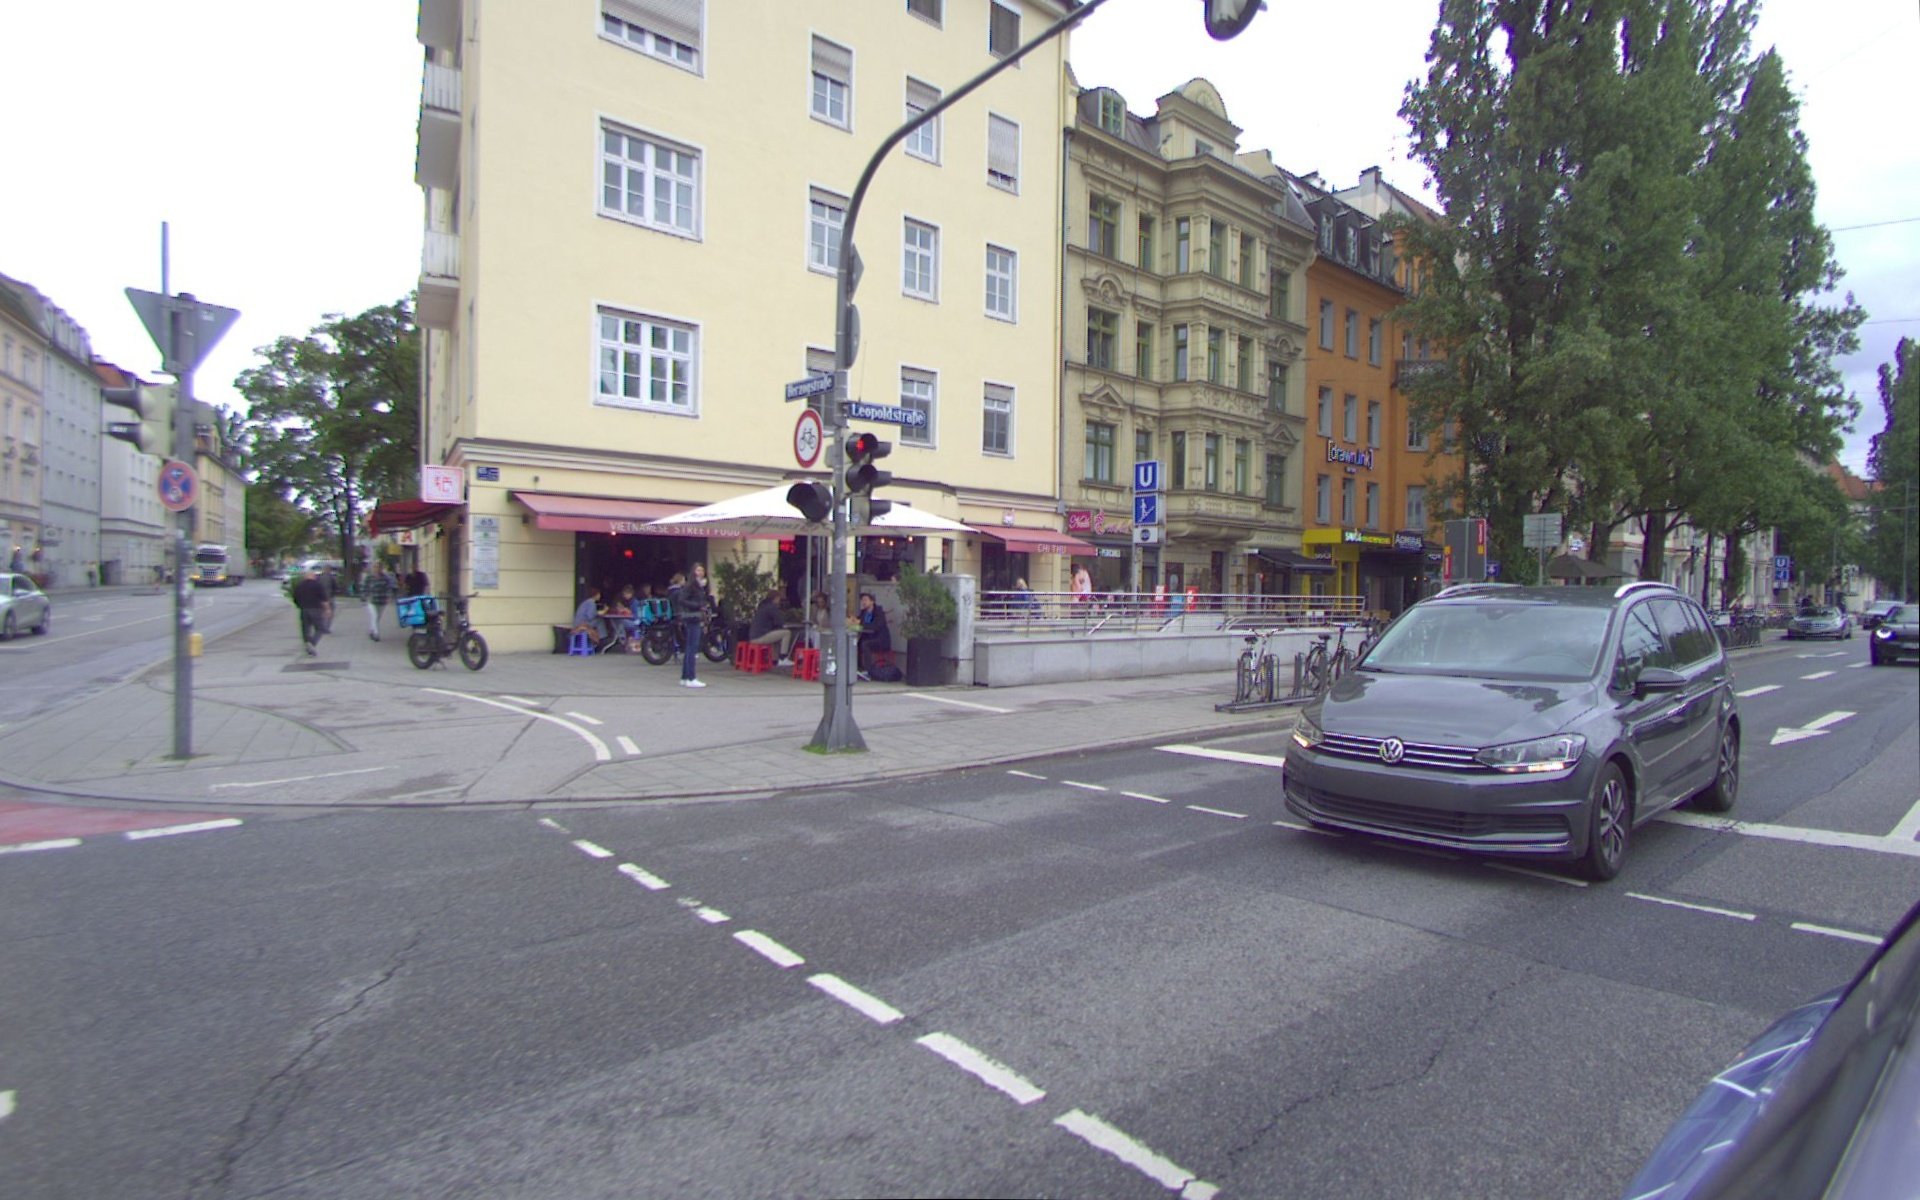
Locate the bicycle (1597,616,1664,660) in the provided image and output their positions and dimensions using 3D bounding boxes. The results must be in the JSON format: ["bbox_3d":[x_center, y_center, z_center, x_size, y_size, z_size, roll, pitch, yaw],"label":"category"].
[{"bbox_3d":[16.477,0.918,24.921,0.319,1.008,1.843,1,-1,-4],"label":"bicycle"}]

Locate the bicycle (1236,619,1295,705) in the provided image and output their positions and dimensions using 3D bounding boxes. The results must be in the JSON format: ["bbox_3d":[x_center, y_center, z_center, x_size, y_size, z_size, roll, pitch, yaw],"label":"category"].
[{"bbox_3d":[4.197,0.821,13.981,0.342,1.008,1.841,1,2,4],"label":"bicycle"}]

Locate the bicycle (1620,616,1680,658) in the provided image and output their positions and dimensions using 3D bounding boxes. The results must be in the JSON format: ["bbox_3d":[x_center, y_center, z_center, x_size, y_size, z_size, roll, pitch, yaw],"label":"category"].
[{"bbox_3d":[17.500,0.919,25.710,0.319,1.008,1.841,1,-1,2],"label":"bicycle"}]

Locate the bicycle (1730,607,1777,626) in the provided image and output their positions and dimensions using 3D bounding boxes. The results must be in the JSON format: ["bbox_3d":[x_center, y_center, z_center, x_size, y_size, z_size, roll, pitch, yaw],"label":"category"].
[{"bbox_3d":[40.021,0.809,51.042,0.385,0.928,1.837,0,0,-39],"label":"bicycle"}]

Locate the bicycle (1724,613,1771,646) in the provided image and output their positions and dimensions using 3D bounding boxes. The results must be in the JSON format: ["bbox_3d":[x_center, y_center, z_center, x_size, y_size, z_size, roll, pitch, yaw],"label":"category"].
[{"bbox_3d":[25.257,0.933,32.477,0.369,1.008,1.836,1,-1,10],"label":"bicycle"}]

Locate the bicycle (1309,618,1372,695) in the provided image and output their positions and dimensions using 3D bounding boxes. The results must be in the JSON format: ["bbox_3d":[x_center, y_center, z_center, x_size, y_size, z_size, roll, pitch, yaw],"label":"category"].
[{"bbox_3d":[5.764,0.824,15.409,0.342,1.008,1.841,1,2,4],"label":"bicycle"}]

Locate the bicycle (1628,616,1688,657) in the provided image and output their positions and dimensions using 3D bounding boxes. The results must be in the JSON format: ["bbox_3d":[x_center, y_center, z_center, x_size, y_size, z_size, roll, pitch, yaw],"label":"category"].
[{"bbox_3d":[17.995,0.919,26.118,0.319,1.008,1.841,1,-1,2],"label":"bicycle"}]

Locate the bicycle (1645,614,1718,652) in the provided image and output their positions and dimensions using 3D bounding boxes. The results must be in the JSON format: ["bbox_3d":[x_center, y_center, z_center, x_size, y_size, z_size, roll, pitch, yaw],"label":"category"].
[{"bbox_3d":[20.415,0.925,28.691,0.367,1.008,1.846,2,-1,-16],"label":"bicycle"}]

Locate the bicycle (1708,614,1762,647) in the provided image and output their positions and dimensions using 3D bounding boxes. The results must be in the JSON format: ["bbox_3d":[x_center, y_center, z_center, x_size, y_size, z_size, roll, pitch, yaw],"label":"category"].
[{"bbox_3d":[24.149,0.932,31.569,0.368,1.008,1.840,1,-1,4],"label":"bicycle"}]

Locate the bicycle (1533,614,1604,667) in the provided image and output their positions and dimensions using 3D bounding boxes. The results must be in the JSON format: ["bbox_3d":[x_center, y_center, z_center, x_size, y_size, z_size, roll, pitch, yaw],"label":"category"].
[{"bbox_3d":[13.021,0.842,21.711,0.341,1.008,1.843,1,2,-1],"label":"bicycle"}]

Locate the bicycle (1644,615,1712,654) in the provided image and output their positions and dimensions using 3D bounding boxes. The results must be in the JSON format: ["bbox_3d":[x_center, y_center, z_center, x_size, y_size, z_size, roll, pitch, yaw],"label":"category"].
[{"bbox_3d":[19.515,0.923,27.545,0.318,1.008,1.844,1,-1,-9],"label":"bicycle"}]

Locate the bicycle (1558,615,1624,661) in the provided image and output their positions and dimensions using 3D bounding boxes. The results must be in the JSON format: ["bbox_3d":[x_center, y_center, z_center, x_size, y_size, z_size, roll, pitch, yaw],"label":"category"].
[{"bbox_3d":[14.521,0.848,23.332,0.319,1.008,1.842,1,-1,-1],"label":"bicycle"}]

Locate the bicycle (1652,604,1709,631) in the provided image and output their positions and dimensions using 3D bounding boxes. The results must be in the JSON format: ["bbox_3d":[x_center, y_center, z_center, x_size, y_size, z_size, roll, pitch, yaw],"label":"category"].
[{"bbox_3d":[29.935,0.718,42.082,0.450,1.067,1.890,0,1,-43],"label":"bicycle"}]

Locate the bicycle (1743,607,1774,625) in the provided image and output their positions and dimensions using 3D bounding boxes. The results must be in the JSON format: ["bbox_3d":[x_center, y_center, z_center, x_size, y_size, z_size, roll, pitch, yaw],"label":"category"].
[{"bbox_3d":[45.939,0.909,58.209,1.801,0.990,0.393,0,0,-14],"label":"bicycle"}]

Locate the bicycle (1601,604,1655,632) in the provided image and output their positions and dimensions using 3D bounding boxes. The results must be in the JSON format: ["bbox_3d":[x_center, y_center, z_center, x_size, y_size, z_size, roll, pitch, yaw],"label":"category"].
[{"bbox_3d":[28.699,0.745,43.489,0.450,1.127,1.890,0,1,-43],"label":"bicycle"}]

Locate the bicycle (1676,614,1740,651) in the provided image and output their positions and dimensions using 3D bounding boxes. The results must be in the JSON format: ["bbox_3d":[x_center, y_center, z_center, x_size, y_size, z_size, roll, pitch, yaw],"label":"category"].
[{"bbox_3d":[21.643,0.927,29.316,0.368,1.008,1.843,1,-1,-3],"label":"bicycle"}]

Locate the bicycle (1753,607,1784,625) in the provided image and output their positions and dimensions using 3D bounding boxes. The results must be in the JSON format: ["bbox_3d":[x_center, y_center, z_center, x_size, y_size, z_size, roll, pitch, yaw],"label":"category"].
[{"bbox_3d":[46.195,0.896,57.836,1.801,1.036,0.393,0,0,-14],"label":"bicycle"}]

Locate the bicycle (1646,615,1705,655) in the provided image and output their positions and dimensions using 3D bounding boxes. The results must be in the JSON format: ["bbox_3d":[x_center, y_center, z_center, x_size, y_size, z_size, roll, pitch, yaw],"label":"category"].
[{"bbox_3d":[19.097,0.921,27.049,0.319,1.008,1.841,1,-1,2],"label":"bicycle"}]

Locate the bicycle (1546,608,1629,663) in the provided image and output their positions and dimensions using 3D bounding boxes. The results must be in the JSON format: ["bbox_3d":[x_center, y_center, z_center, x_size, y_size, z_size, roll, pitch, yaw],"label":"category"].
[{"bbox_3d":[14.059,0.775,22.732,0.457,1.126,1.845,1,1,-8],"label":"bicycle"}]

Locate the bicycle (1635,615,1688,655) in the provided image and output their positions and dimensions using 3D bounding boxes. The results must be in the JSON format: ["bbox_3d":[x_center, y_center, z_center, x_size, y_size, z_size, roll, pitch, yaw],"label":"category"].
[{"bbox_3d":[18.709,0.924,27.020,0.319,1.008,1.838,1,-1,6],"label":"bicycle"}]

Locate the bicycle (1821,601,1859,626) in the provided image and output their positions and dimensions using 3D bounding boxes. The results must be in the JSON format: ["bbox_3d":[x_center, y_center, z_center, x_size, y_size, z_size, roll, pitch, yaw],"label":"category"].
[{"bbox_3d":[41.221,0.602,47.400,0.353,1.116,1.743,1,1,5],"label":"bicycle"}]

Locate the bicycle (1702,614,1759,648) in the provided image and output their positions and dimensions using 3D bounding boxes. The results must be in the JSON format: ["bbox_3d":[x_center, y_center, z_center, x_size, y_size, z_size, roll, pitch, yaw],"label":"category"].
[{"bbox_3d":[23.620,0.931,31.054,0.368,1.008,1.841,1,-1,1],"label":"bicycle"}]

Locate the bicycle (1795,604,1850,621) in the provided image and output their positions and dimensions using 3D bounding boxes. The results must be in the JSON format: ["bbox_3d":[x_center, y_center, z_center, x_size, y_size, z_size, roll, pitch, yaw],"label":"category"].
[{"bbox_3d":[62.095,0.893,72.893,2.898,1.163,0.633,0,0,32],"label":"bicycle"}]

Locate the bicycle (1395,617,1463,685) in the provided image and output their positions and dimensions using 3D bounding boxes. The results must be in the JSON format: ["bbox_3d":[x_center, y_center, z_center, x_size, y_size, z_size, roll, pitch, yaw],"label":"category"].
[{"bbox_3d":[7.956,0.831,17.219,0.341,1.008,1.841,1,2,2],"label":"bicycle"}]

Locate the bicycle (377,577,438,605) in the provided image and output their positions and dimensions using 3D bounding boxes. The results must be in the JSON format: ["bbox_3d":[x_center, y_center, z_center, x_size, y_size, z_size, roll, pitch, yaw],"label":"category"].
[{"bbox_3d":[-26.115,-0.420,47.852,2.429,1.257,0.757,1,0,-14],"label":"bicycle"}]

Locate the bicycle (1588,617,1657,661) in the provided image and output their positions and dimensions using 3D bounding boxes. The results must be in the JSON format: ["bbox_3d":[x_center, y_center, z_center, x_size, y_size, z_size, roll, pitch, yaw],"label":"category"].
[{"bbox_3d":[15.937,0.916,24.389,0.319,1.008,1.843,1,-1,-4],"label":"bicycle"}]

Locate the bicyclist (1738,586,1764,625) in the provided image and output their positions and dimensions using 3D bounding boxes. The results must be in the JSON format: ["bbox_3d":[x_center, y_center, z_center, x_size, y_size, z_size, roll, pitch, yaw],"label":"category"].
[{"bbox_3d":[33.215,0.231,42.501,0.923,1.623,0.681,0,1,-41],"label":"bicyclist"}]

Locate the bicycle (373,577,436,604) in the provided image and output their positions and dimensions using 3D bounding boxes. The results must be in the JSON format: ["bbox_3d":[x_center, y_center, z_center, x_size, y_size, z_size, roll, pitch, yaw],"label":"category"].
[{"bbox_3d":[-25.783,-0.432,47.012,2.429,1.204,0.757,1,0,-14],"label":"bicycle"}]

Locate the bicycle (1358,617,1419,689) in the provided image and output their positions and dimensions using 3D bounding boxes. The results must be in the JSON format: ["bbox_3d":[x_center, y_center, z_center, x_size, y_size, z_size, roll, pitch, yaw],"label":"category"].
[{"bbox_3d":[6.941,0.831,16.464,0.342,1.008,1.840,1,2,5],"label":"bicycle"}]

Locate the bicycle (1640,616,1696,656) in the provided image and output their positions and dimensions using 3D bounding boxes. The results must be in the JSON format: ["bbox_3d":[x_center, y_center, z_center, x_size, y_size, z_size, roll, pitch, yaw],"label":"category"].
[{"bbox_3d":[18.392,0.918,26.320,0.319,1.008,1.839,1,-1,6],"label":"bicycle"}]

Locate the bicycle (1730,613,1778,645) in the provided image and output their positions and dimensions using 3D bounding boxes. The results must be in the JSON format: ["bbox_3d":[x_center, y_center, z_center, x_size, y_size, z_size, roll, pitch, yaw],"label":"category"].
[{"bbox_3d":[25.761,0.934,32.856,0.369,1.008,1.836,1,-1,10],"label":"bicycle"}]

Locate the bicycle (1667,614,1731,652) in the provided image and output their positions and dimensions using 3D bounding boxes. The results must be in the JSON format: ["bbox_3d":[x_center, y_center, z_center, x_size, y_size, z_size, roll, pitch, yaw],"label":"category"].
[{"bbox_3d":[21.055,0.927,28.875,0.368,1.008,1.843,1,-1,-3],"label":"bicycle"}]

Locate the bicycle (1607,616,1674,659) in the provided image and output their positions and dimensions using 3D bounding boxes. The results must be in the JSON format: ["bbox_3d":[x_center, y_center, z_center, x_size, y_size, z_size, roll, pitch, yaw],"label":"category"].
[{"bbox_3d":[16.963,0.918,25.264,0.319,1.008,1.843,1,-1,-4],"label":"bicycle"}]

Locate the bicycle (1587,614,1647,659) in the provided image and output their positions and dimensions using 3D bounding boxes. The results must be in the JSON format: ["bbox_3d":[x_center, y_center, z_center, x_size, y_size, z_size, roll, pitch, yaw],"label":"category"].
[{"bbox_3d":[15.573,0.847,24.018,0.319,1.008,1.840,1,-1,4],"label":"bicycle"}]

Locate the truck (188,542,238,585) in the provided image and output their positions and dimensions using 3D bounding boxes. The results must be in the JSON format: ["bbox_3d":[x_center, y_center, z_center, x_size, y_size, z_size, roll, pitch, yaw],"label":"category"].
[{"bbox_3d":[-75.709,-3.669,102.878,2.855,3.963,18.914,1,1,-33],"label":"truck"}]

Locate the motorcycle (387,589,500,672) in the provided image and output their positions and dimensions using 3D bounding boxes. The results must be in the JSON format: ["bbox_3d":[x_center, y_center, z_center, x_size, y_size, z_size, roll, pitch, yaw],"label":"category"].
[{"bbox_3d":[-8.080,0.455,15.833,1.745,1.215,0.538,1,0,20],"label":"motorcycle"}]

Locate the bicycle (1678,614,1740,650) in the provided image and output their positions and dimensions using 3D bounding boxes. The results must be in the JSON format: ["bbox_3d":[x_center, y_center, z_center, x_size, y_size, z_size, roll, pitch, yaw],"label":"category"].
[{"bbox_3d":[22.043,0.930,29.813,0.368,1.008,1.843,1,-1,-3],"label":"bicycle"}]

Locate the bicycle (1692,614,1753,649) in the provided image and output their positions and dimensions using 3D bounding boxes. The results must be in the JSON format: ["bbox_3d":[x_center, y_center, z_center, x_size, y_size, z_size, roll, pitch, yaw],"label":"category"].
[{"bbox_3d":[23.077,0.931,30.659,0.368,1.008,1.843,1,-1,-3],"label":"bicycle"}]

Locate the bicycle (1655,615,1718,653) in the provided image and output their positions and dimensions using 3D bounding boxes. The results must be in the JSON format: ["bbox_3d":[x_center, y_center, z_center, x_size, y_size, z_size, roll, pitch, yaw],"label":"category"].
[{"bbox_3d":[20.005,0.923,27.900,0.319,1.008,1.843,1,-1,-3],"label":"bicycle"}]

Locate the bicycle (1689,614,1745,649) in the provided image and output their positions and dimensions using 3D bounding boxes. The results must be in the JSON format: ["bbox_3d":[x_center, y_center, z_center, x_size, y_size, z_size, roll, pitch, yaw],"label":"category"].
[{"bbox_3d":[22.614,0.930,30.259,0.368,1.008,1.840,1,-1,3],"label":"bicycle"}]

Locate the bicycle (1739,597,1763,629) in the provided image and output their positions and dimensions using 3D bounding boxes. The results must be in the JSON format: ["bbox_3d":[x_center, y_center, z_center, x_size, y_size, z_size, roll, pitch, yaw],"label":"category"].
[{"bbox_3d":[33.256,0.550,42.554,1.747,1.304,0.424,0,1,-40],"label":"bicycle"}]

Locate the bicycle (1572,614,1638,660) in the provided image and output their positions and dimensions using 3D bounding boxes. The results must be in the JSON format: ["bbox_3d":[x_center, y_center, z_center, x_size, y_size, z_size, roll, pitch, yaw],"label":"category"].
[{"bbox_3d":[15.020,0.847,23.618,0.319,1.008,1.842,1,-1,-1],"label":"bicycle"}]

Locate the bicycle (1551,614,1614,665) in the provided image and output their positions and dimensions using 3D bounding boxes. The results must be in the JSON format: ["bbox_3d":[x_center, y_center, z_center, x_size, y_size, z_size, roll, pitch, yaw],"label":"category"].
[{"bbox_3d":[13.621,0.842,22.179,0.319,1.008,1.841,1,1,3],"label":"bicycle"}]

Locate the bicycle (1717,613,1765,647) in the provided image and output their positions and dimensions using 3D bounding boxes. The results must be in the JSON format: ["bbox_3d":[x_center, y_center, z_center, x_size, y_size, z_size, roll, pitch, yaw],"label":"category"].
[{"bbox_3d":[24.678,0.933,32.000,0.369,1.008,1.836,1,-1,10],"label":"bicycle"}]

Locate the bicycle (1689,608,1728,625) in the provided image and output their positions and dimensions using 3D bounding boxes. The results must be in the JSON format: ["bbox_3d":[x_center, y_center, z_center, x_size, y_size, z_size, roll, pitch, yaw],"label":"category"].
[{"bbox_3d":[38.674,0.833,52.328,0.385,0.845,1.573,0,0,-43],"label":"bicycle"}]

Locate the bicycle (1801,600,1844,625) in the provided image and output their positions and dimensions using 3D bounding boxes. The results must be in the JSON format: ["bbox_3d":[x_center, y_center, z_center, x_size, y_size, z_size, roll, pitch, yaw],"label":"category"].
[{"bbox_3d":[40.458,0.592,47.497,0.352,1.116,1.747,1,1,-6],"label":"bicycle"}]

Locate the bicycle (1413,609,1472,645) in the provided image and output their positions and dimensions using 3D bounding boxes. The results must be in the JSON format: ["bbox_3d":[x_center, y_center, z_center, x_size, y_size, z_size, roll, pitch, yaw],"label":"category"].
[{"bbox_3d":[14.814,0.830,31.108,0.379,1.059,1.730,2,-1,-29],"label":"bicycle"}]

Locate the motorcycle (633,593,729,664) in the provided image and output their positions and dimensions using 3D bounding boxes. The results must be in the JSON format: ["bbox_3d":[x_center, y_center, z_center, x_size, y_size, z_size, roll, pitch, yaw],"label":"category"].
[{"bbox_3d":[-4.855,0.475,17.656,1.543,1.171,0.487,0,1,-41],"label":"motorcycle"}]
